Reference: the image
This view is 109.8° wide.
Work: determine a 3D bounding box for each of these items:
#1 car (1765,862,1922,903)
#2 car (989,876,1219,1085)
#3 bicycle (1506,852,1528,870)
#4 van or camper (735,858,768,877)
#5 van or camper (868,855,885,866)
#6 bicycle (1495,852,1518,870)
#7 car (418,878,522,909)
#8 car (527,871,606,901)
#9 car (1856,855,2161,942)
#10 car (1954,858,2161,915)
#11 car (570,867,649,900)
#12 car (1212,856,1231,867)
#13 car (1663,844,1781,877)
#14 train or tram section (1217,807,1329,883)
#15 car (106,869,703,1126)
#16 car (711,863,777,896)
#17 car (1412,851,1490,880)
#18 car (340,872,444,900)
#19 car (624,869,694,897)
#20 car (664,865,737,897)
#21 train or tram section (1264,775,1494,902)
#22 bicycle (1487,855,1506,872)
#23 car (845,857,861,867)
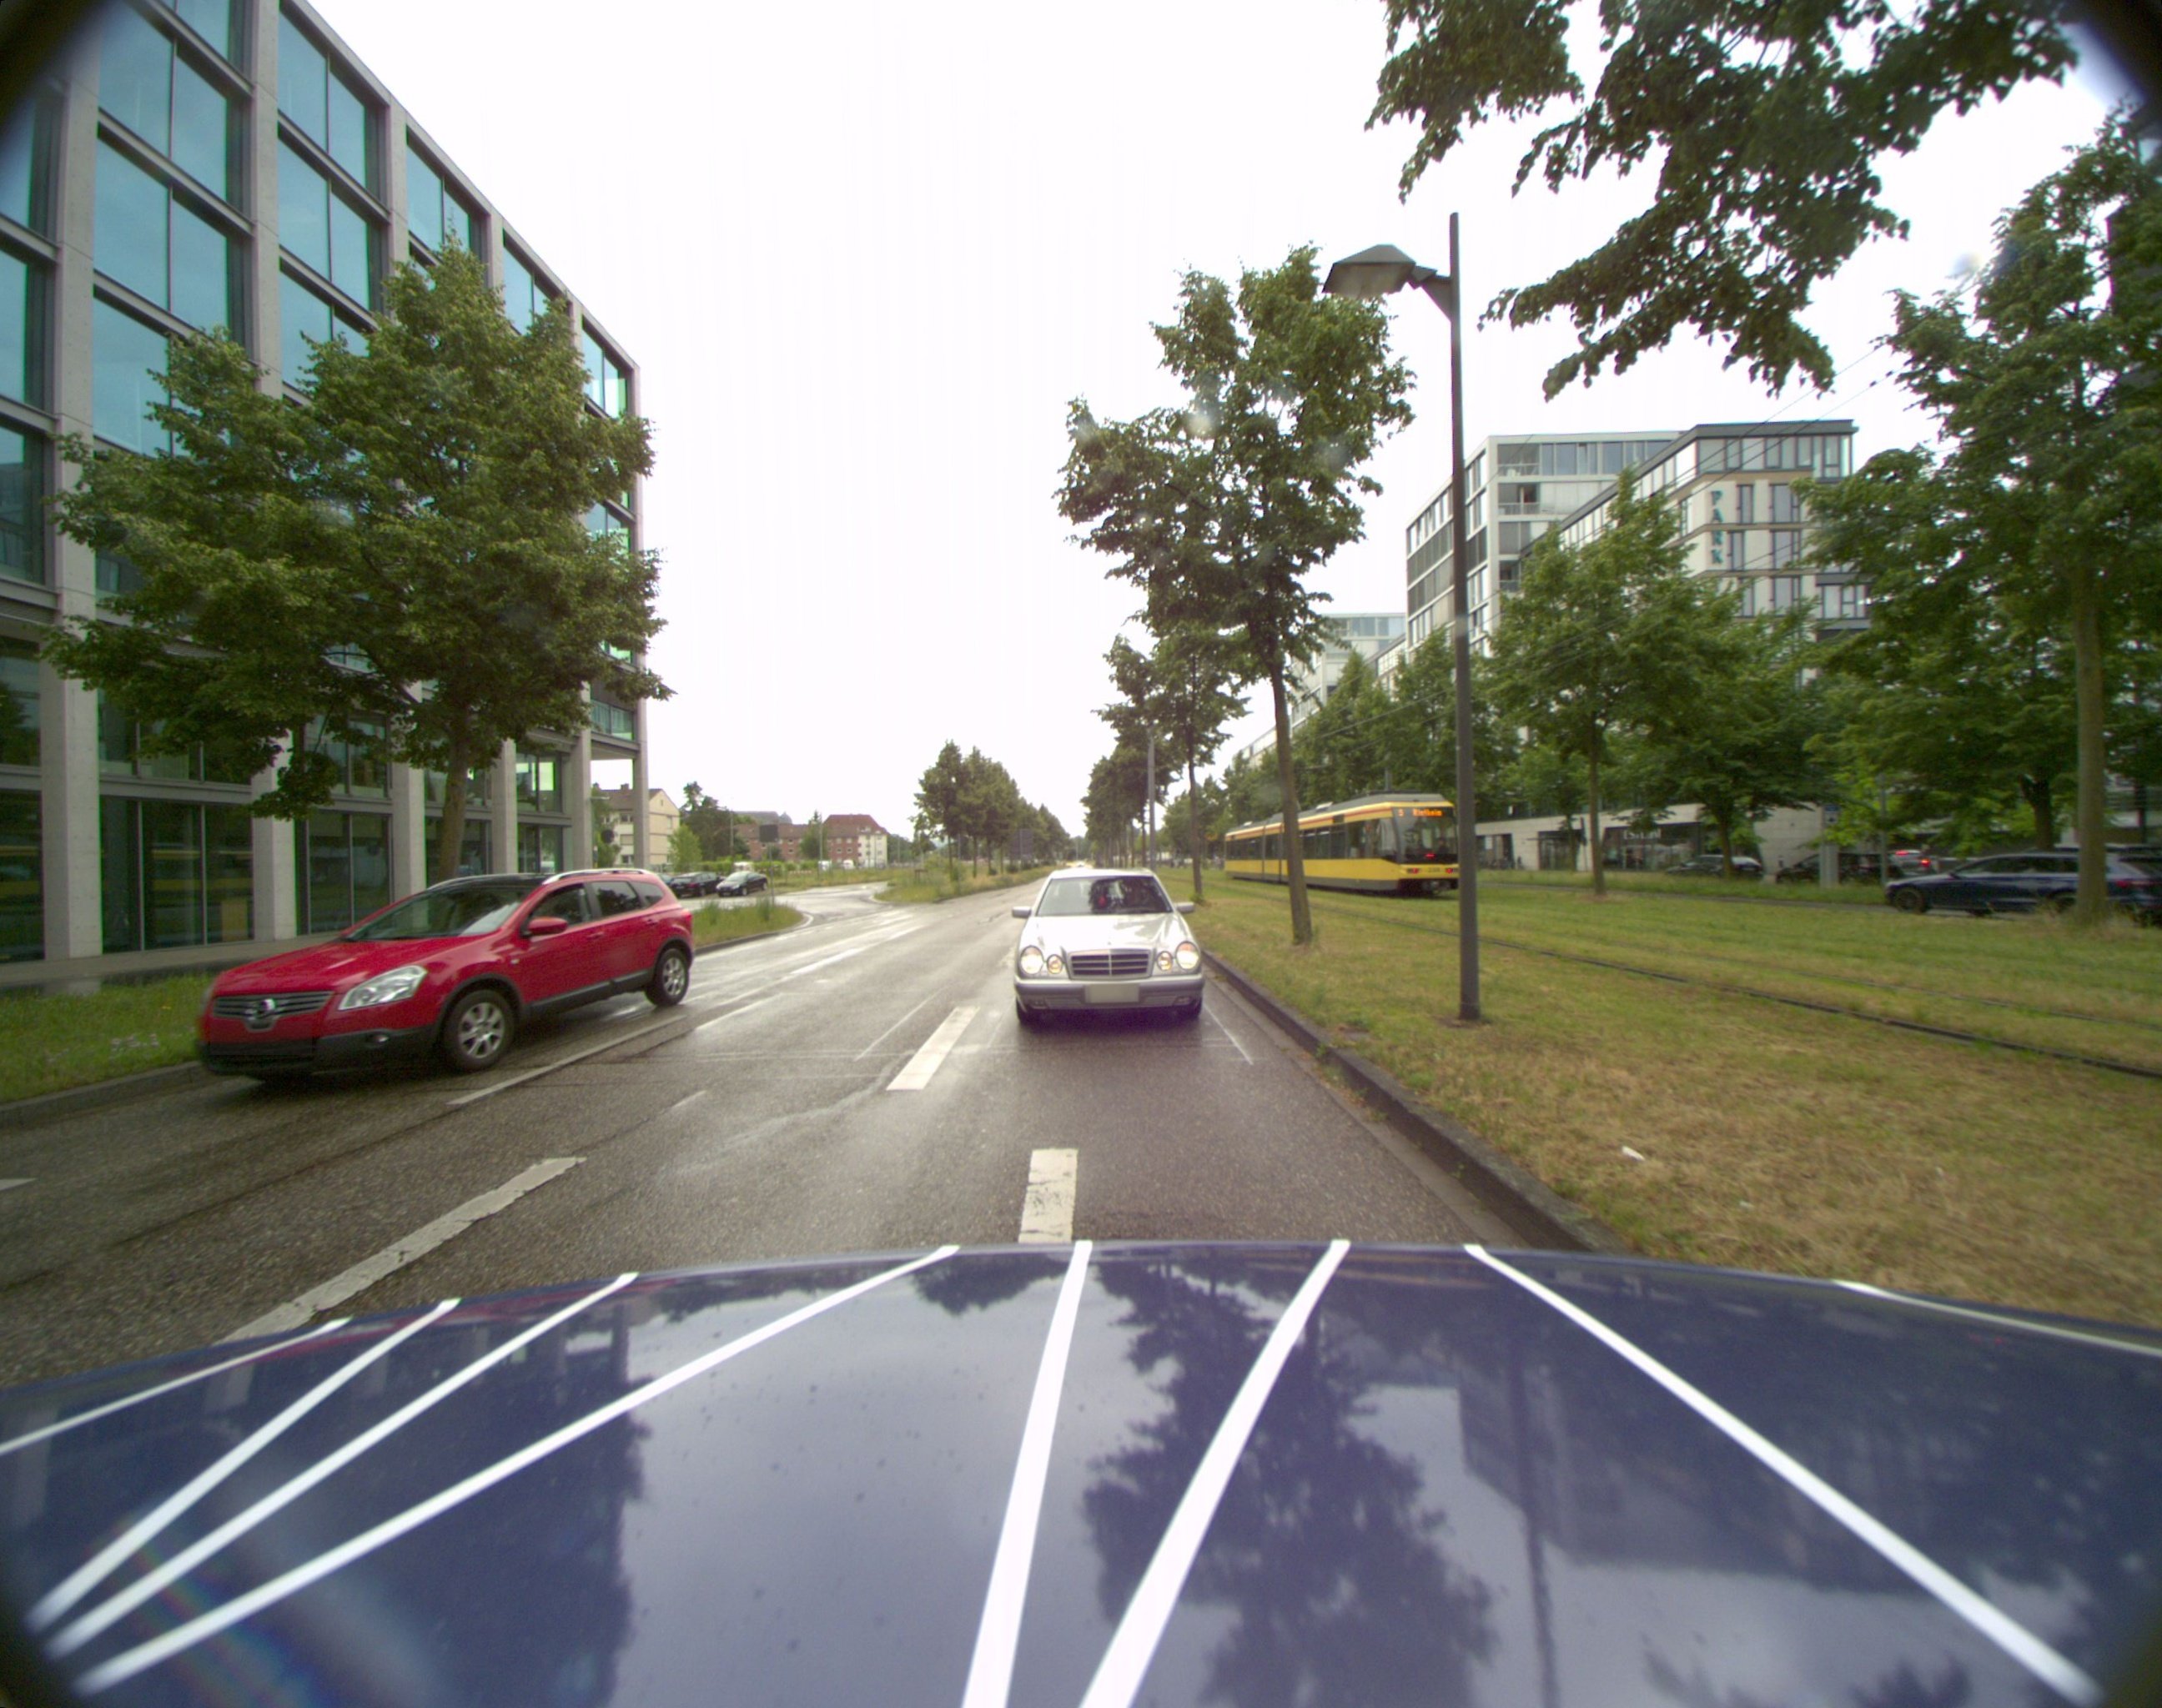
[{"bbox_3d":[28.985,1.031,29.098,1.998,1.370,4.000,-2,0,1],"label":"car"},{"bbox_3d":[0.177,1.043,8.179,1.738,1.451,4.607,-2,0,0],"label":"car"},{"bbox_3d":[38.928,0.636,67.844,1.572,1.529,0.607,-2,0,0],"label":"bicycle"},{"bbox_3d":[-49.878,2.028,115.197,2.314,2.673,6.395,-1,0,-2],"label":"van or camper"},{"bbox_3d":[-45.499,1.522,169.216,2.208,2.294,6.147,-3,0,-2],"label":"van or camper"},{"bbox_3d":[38.672,0.650,69.059,1.708,1.529,0.681,-2,0,0],"label":"bicycle"},{"bbox_3d":[-31.699,2.026,39.477,3.995,1.479,1.862,-1,-2,4],"label":"car"},{"bbox_3d":[-32.798,2.005,48.587,1.789,1.467,4.229,-1,4,6],"label":"car"},{"bbox_3d":[20.037,0.817,16.133,1.999,1.512,4.871,-2,0,-4],"label":"car"},{"bbox_3d":[28.756,0.870,22.168,1.706,1.441,4.241,-2,0,1],"label":"car"},{"bbox_3d":[-30.137,1.842,48.753,1.859,1.593,4.415,-1,4,6],"label":"car"},{"bbox_3d":[20.253,1.109,109.711,1.867,1.515,4.479,-1,0,1],"label":"car"},{"bbox_3d":[29.044,0.285,34.617,1.998,1.370,4.000,-2,0,1],"label":"car"},{"bbox_3d":[10.626,-0.400,44.074,3.137,3.637,13.406,-2,0,1],"label":"train or tram section"},{"bbox_3d":[-5.696,1.032,7.327,1.799,1.602,4.246,-3,0,2],"label":"car"},{"bbox_3d":[-21.140,1.560,47.884,1.858,1.573,3.999,-2,5,8],"label":"car"},{"bbox_3d":[21.050,0.641,43.466,1.999,1.512,4.872,-2,0,-1],"label":"car"},{"bbox_3d":[-36.230,1.693,40.006,3.995,1.364,1.862,-2,-1,6],"label":"car"},{"bbox_3d":[-26.906,1.808,48.631,1.859,1.447,4.000,-1,3,6],"label":"car"},{"bbox_3d":[-23.955,1.677,48.030,1.859,1.447,4.555,-1,4,6],"label":"car"},{"bbox_3d":[10.504,-0.425,29.732,3.137,3.637,15.064,-2,0,1],"label":"train or tram section"},{"bbox_3d":[38.790,0.875,70.873,1.436,1.474,0.546,-2,0,0],"label":"bicycle"},{"bbox_3d":[-52.092,1.854,173.541,2.278,2.206,4.758,-2,0,-3],"label":"car"}]
